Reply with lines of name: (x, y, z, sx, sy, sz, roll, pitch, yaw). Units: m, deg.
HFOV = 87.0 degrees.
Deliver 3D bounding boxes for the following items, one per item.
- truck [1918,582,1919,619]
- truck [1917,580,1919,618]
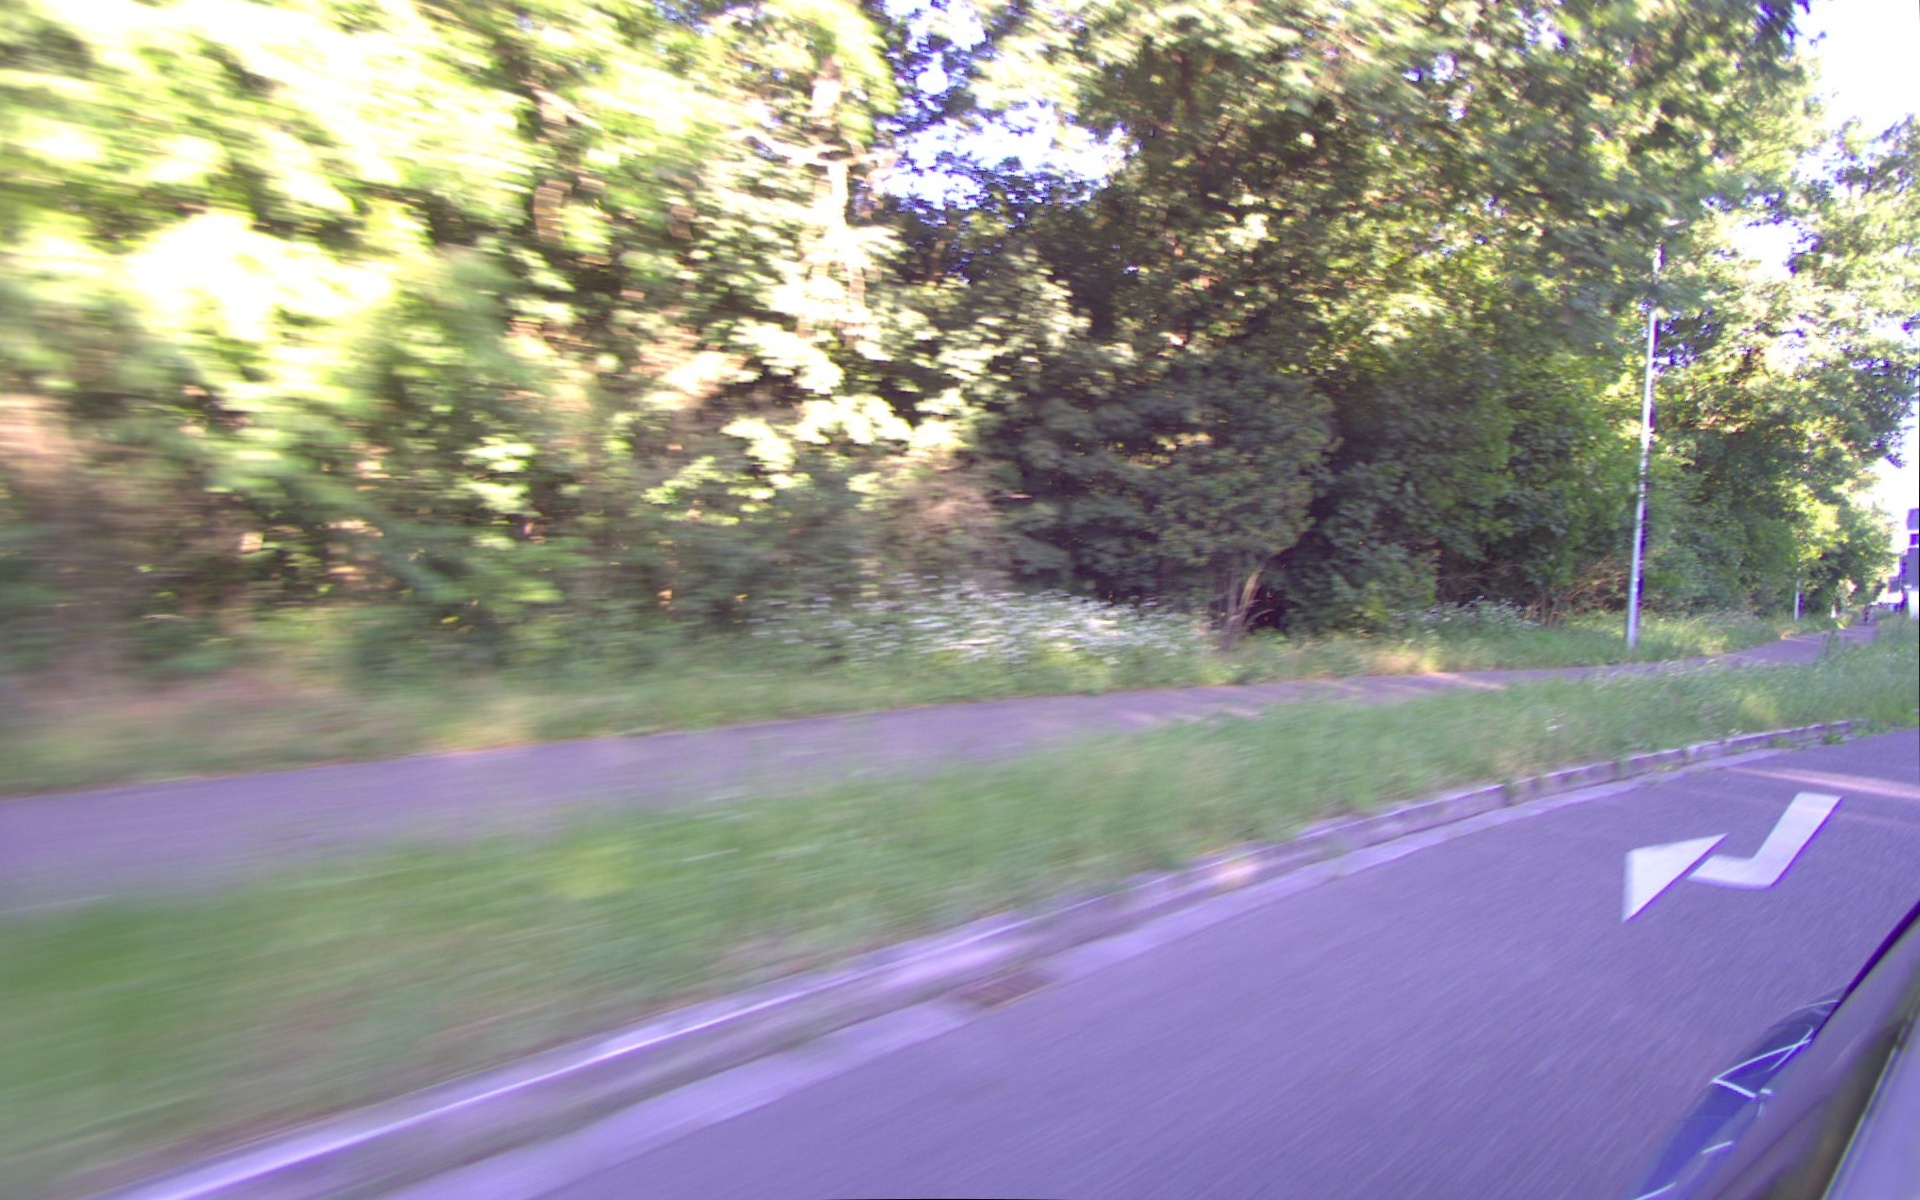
truck: (77.561, 0.007, 80.094, 2.382, 2.908, 5.514, 0, 0, 42)
truck: (84.581, -0.015, 87.220, 2.699, 3.276, 7.021, 5, 3, 42)
